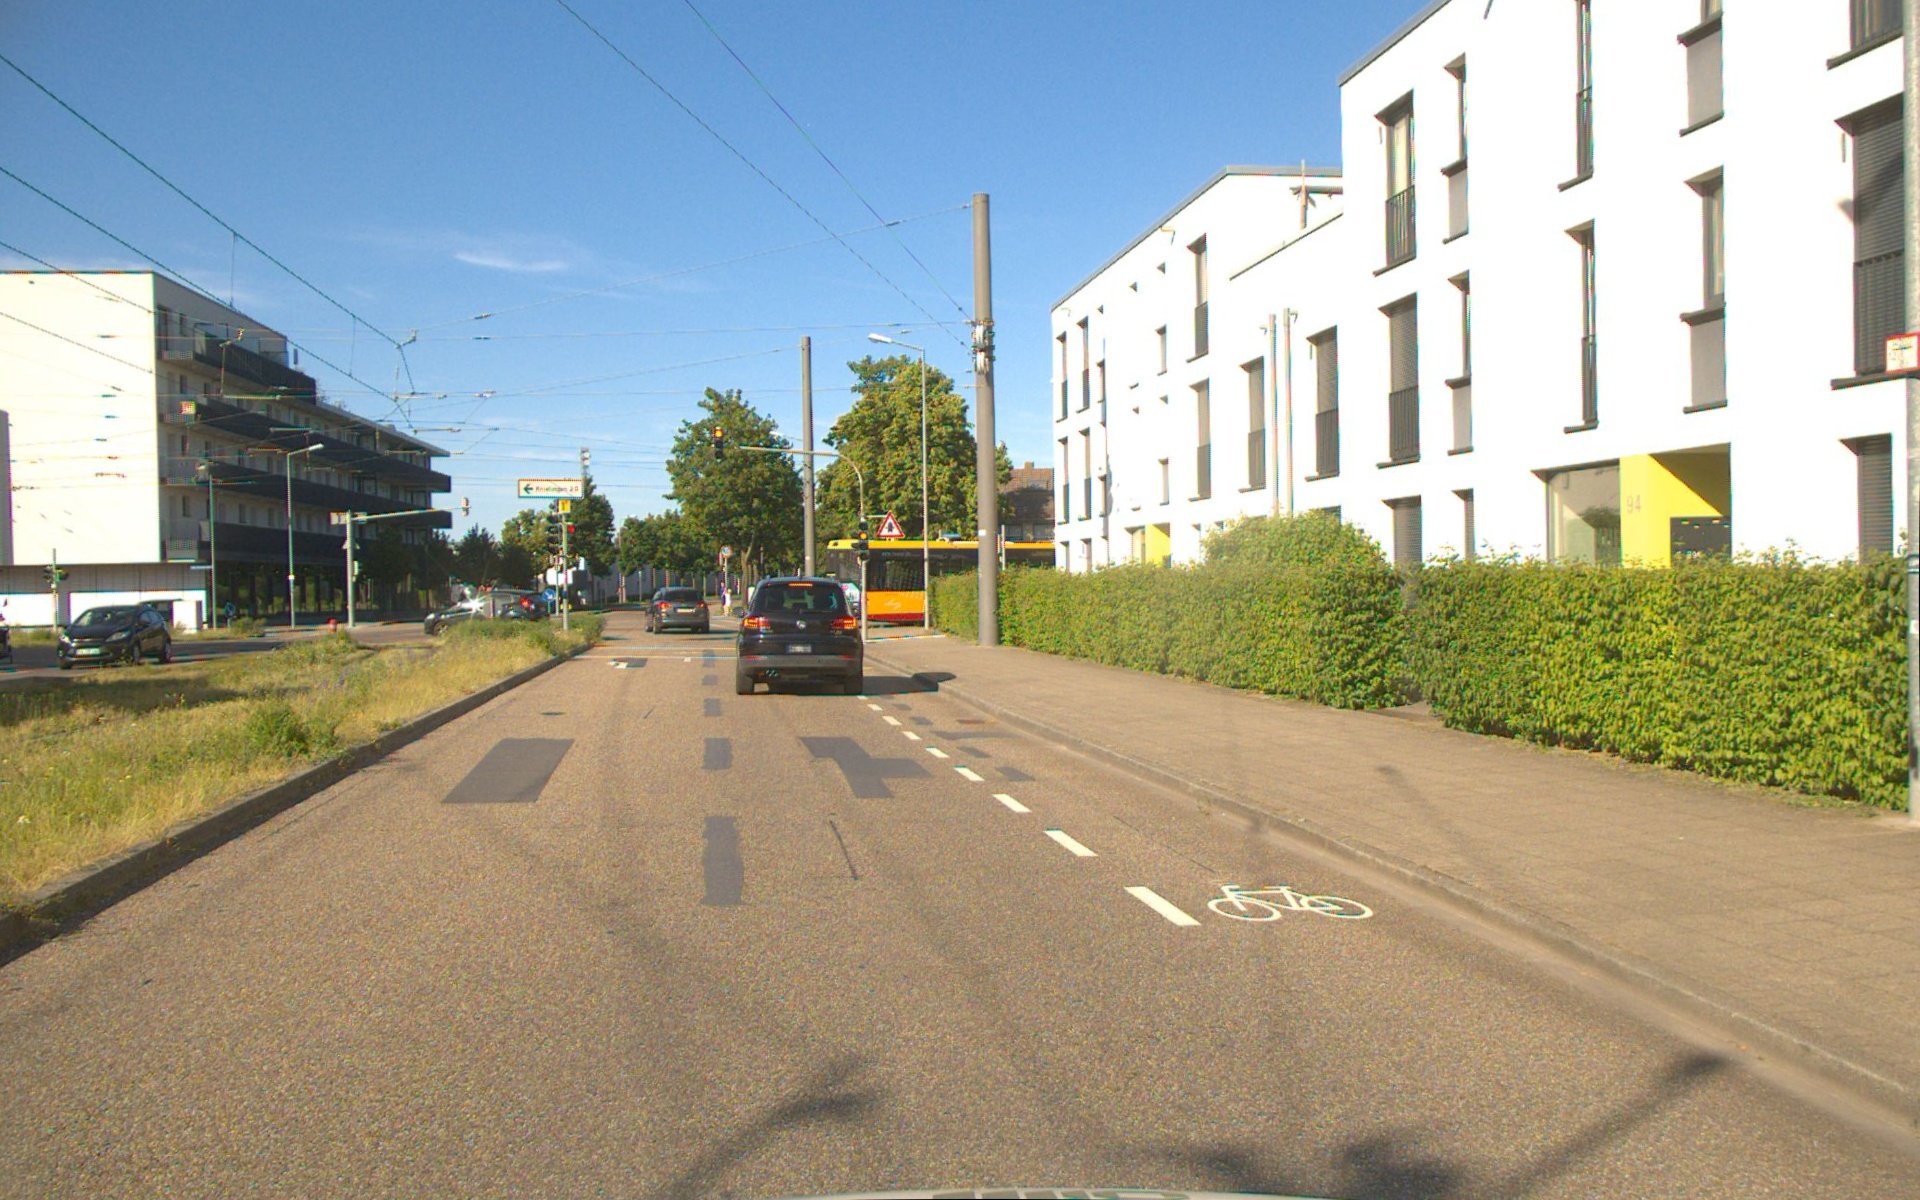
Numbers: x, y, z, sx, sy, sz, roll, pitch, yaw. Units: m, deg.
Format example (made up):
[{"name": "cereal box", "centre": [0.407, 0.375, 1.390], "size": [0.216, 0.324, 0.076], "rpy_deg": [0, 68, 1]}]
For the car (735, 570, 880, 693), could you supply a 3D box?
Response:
[{"name": "car", "centre": [-2.354, 0.405, 24.655], "size": [1.871, 1.671, 3.991], "rpy_deg": [0, 1, -10]}]

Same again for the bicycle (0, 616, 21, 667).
[{"name": "bicycle", "centre": [-25.444, 1.076, 43.603], "size": [0.782, 1.243, 2.686], "rpy_deg": [0, 1, -21]}]

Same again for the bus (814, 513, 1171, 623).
[{"name": "bus", "centre": [1.547, -1.150, 61.656], "size": [14.512, 3.735, 2.813], "rpy_deg": [0, 1, -35]}]

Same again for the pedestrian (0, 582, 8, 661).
[{"name": "pedestrian", "centre": [-25.165, 0.547, 42.859], "size": [0.750, 2.049, 0.665], "rpy_deg": [0, 0, -22]}]

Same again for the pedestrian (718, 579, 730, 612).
[{"name": "pedestrian", "centre": [-12.134, -0.222, 85.018], "size": [0.591, 1.668, 0.528], "rpy_deg": [0, 0, -4]}]

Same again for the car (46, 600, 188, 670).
[{"name": "car", "centre": [-20.156, 0.791, 39.722], "size": [1.754, 1.443, 3.993], "rpy_deg": [-3, 1, -8]}]

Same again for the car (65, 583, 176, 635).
[{"name": "car", "centre": [-36.200, 0.385, 71.319], "size": [3.958, 2.048, 1.974], "rpy_deg": [-3, 1, -37]}]

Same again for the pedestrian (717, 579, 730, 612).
[{"name": "pedestrian", "centre": [-12.089, -0.215, 84.454], "size": [0.591, 1.668, 0.528], "rpy_deg": [0, 0, -4]}]

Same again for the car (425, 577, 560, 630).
[{"name": "car", "centre": [-14.783, 0.107, 52.402], "size": [3.649, 1.455, 1.710], "rpy_deg": [-3, 1, 5]}]

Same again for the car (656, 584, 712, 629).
[{"name": "car", "centre": [-8.950, 0.183, 53.737], "size": [1.719, 1.411, 3.991], "rpy_deg": [0, 1, -9]}]
